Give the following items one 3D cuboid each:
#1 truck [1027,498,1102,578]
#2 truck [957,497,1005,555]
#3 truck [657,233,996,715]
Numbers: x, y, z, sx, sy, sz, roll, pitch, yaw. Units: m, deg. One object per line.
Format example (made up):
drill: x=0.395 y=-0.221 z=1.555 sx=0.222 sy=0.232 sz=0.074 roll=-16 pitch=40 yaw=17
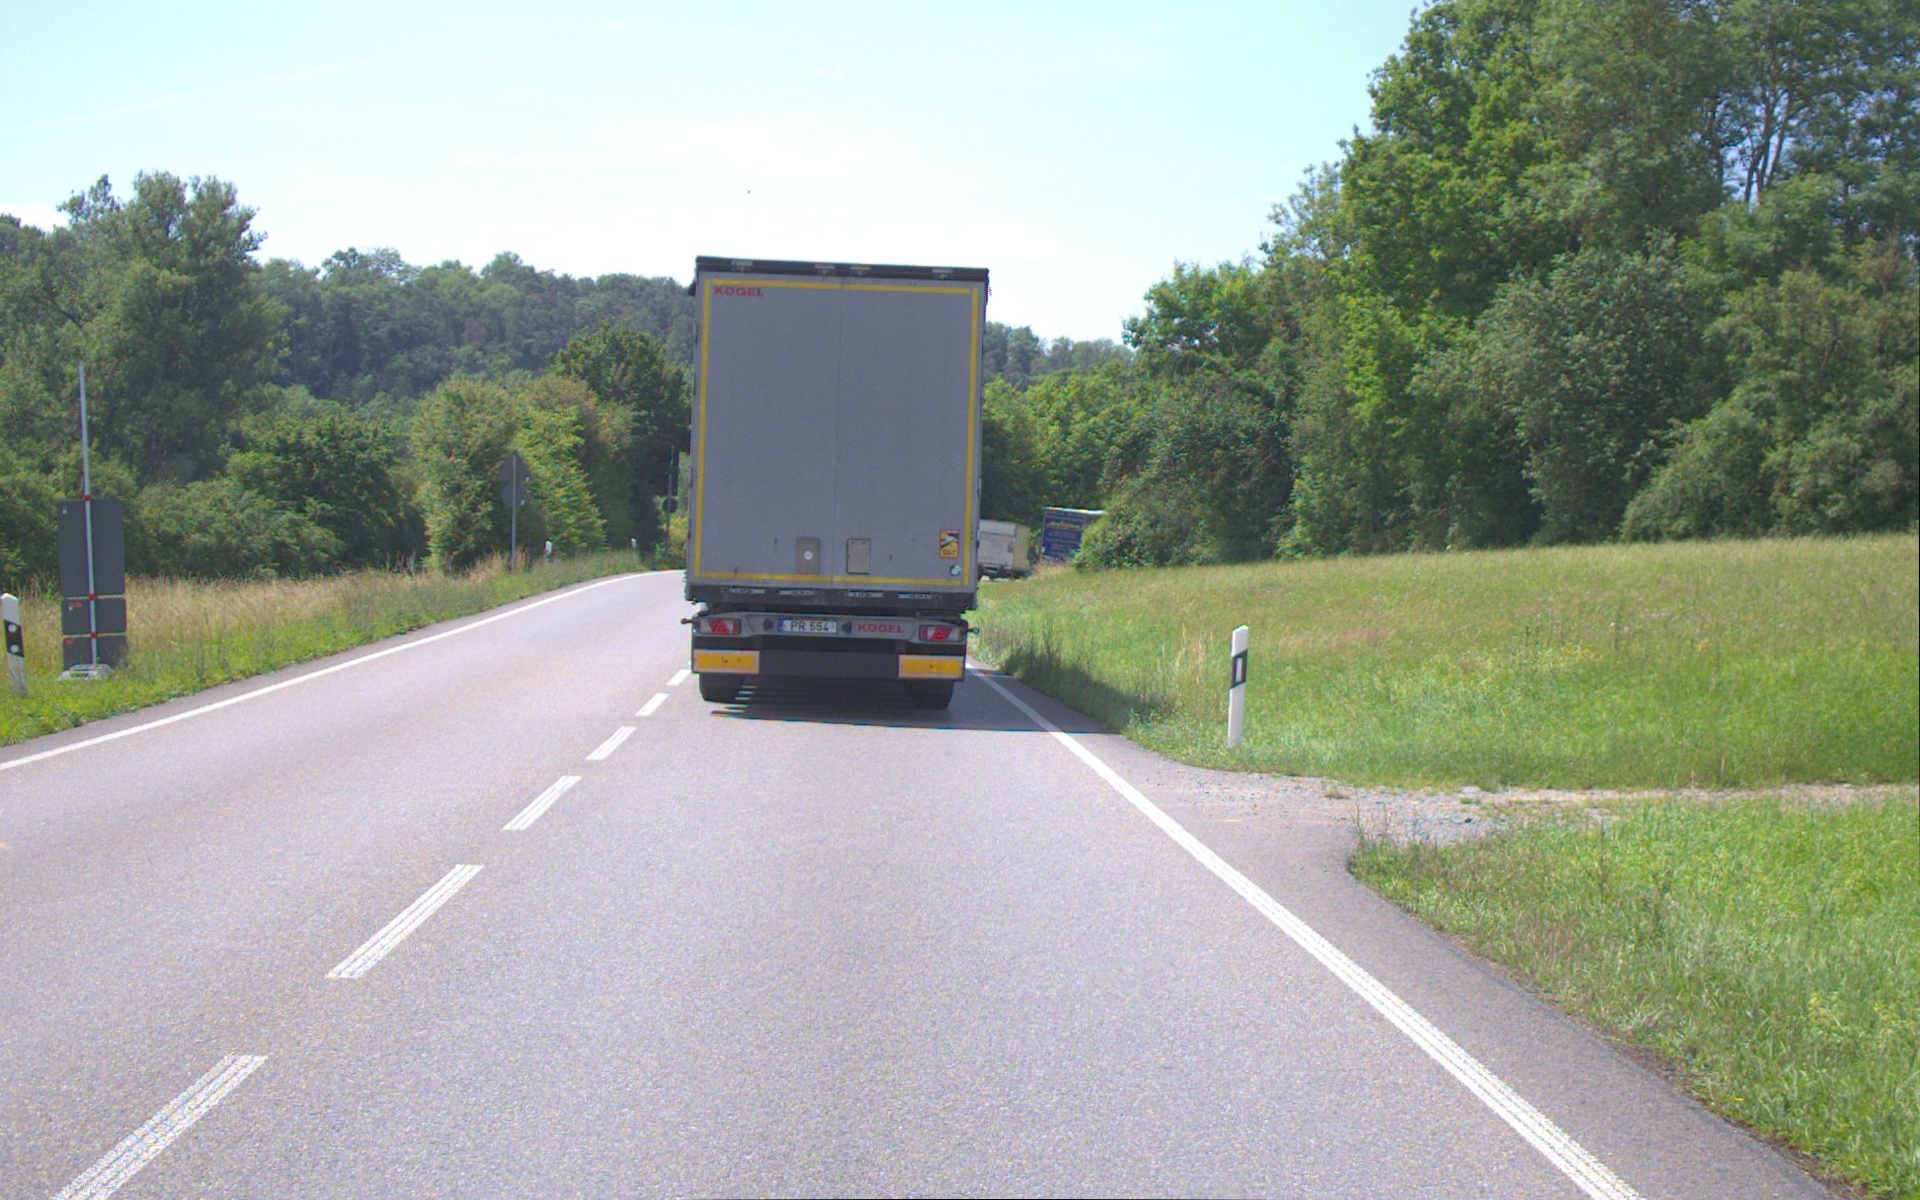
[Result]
truck: x=6.050 y=-3.473 z=196.322 sx=3.304 sy=4.371 sz=13.408 roll=0 pitch=0 yaw=6
truck: x=1.079 y=-3.723 z=172.859 sx=2.354 sy=2.816 sz=5.059 roll=-1 pitch=1 yaw=1
truck: x=-1.614 y=-1.183 z=37.177 sx=2.801 sy=4.055 sz=15.327 roll=2 pitch=1 yaw=-4
